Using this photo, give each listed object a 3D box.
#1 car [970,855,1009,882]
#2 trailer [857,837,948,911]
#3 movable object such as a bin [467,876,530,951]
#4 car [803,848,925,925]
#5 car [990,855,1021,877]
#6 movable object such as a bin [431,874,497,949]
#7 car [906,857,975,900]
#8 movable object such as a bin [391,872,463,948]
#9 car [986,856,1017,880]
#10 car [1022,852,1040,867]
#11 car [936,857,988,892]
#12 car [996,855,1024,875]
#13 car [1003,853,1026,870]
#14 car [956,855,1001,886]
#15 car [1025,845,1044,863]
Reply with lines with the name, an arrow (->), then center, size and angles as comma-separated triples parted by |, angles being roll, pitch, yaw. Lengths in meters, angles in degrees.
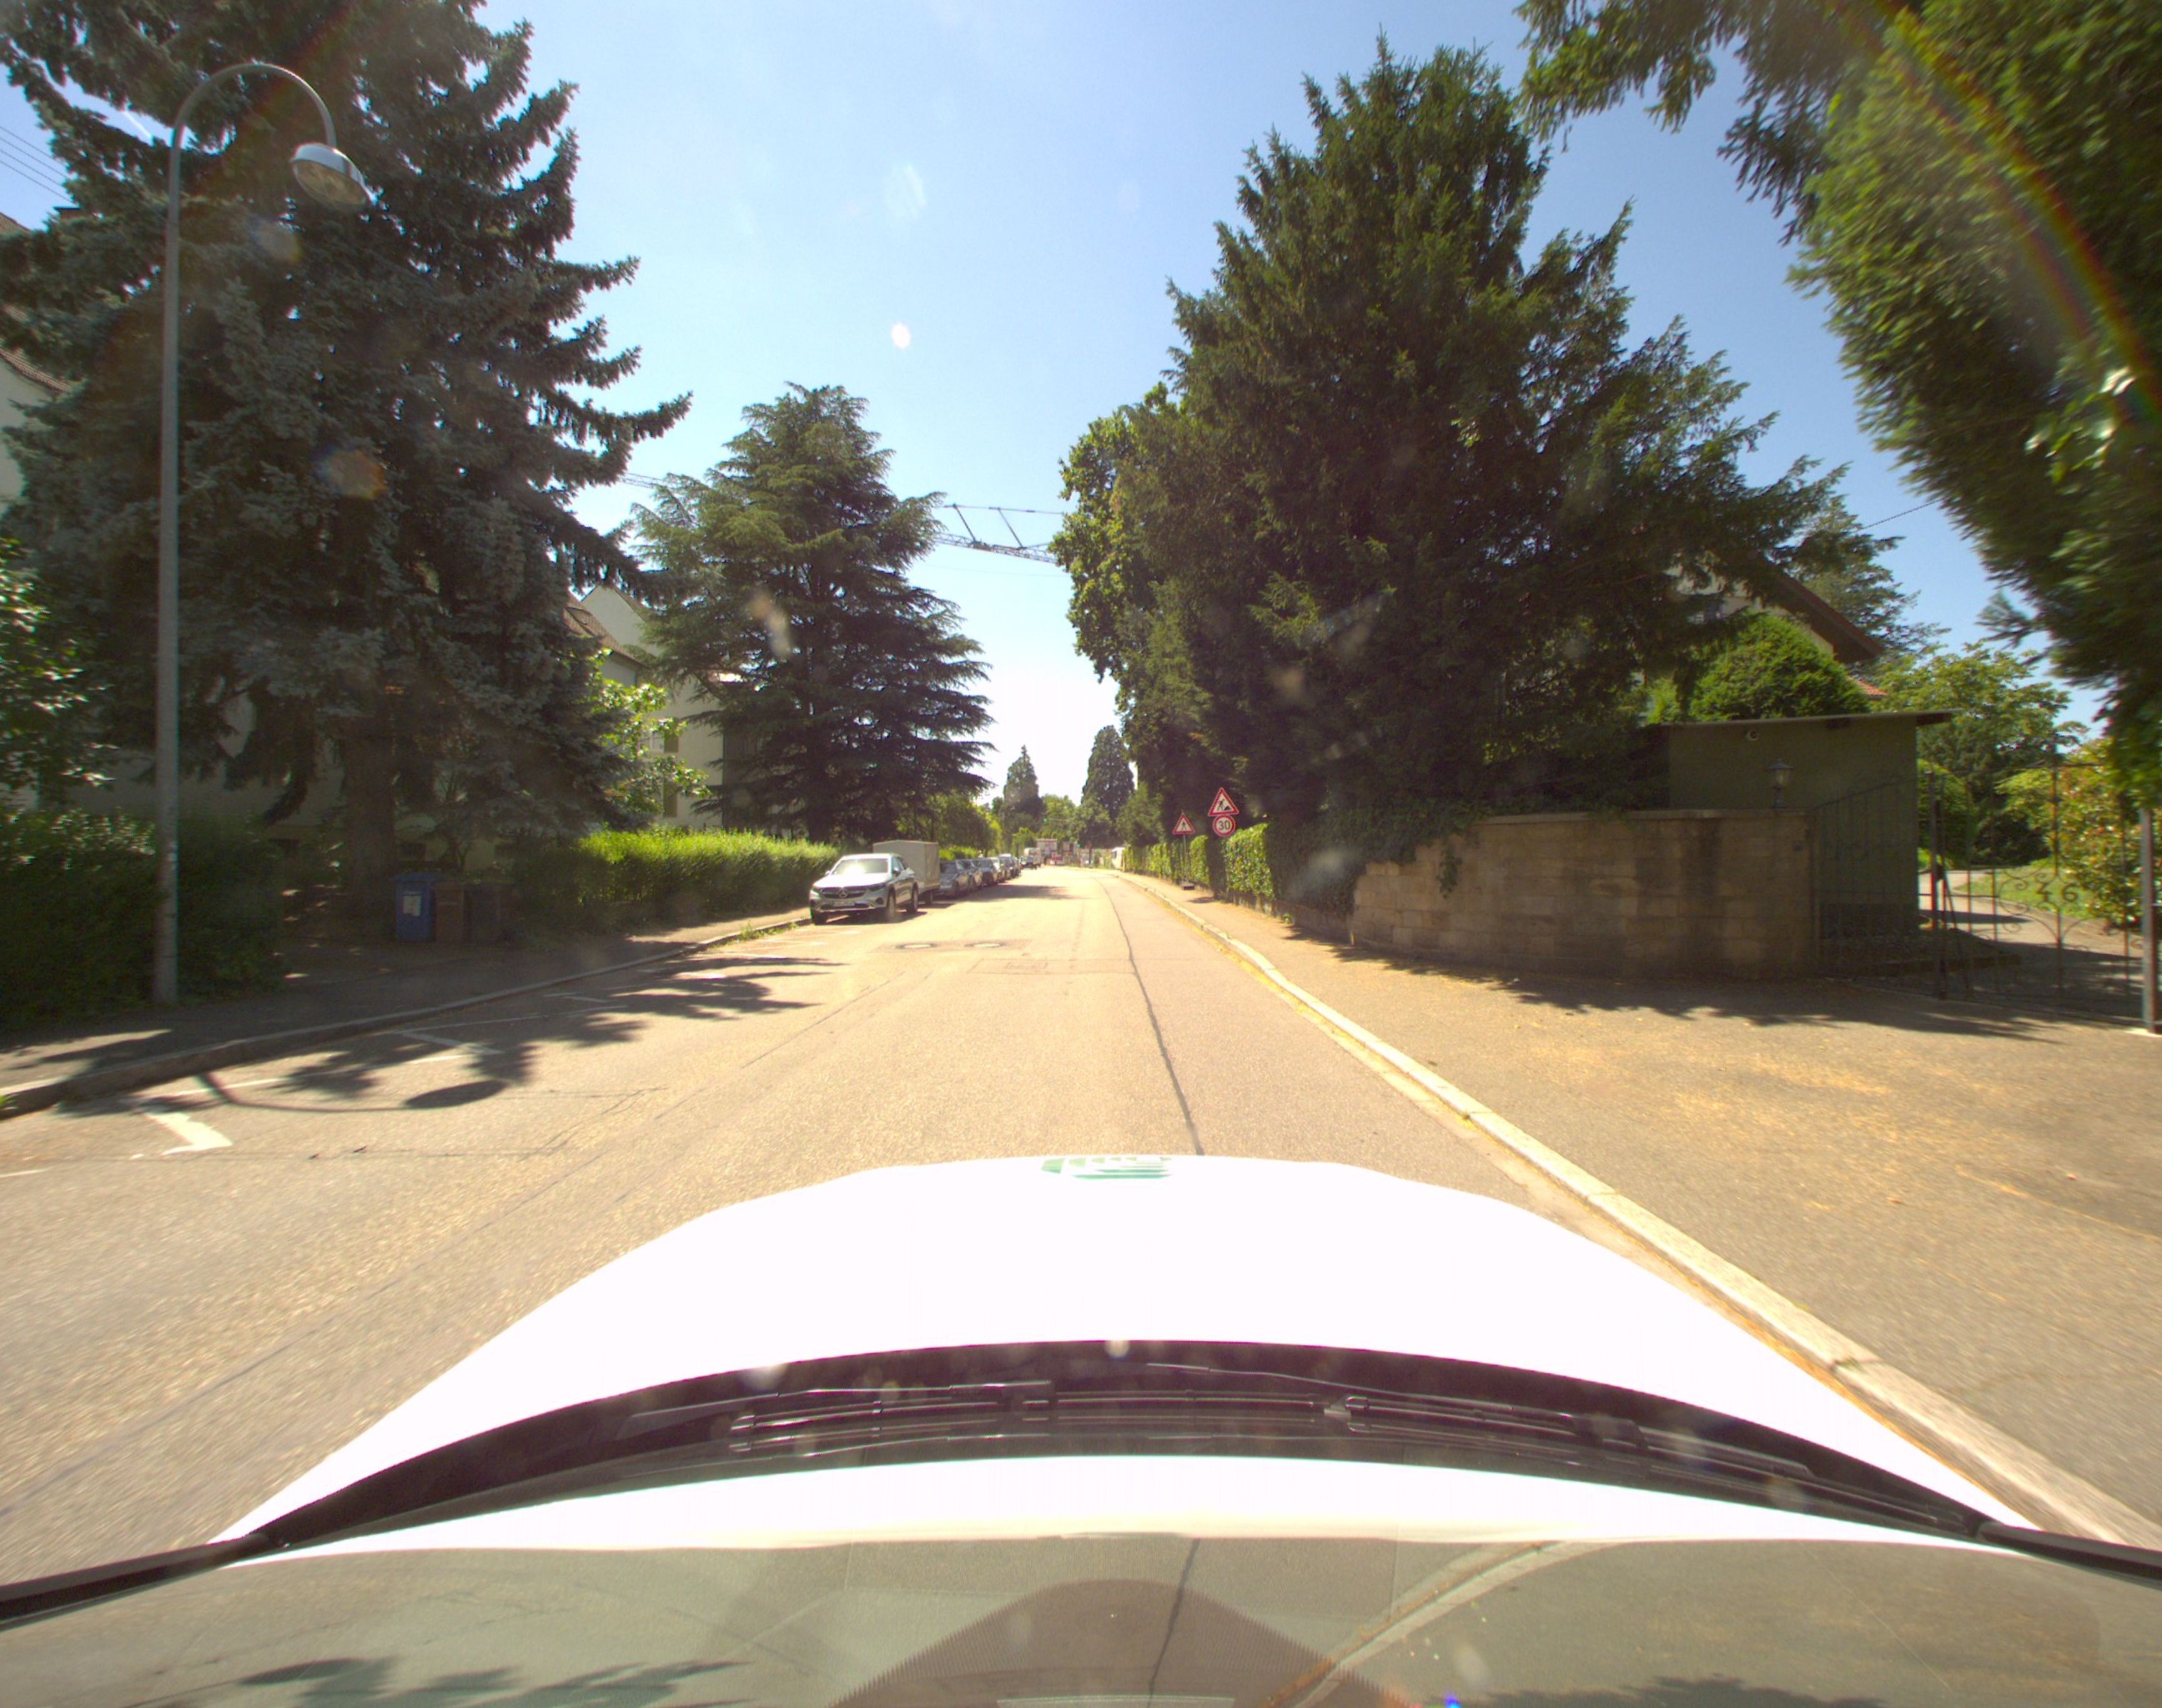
car -> -5.336, 0.834, 48.073 | 1.682, 1.444, 4.136 | -2, 0, 1
trailer -> -5.447, 0.566, 25.375 | 1.842, 2.040, 4.162 | -3, 0, -1
movable object such as a bin -> -8.982, 0.905, 12.567 | 0.484, 1.065, 0.616 | 3, 1, -1
car -> -5.402, 0.747, 20.928 | 1.845, 1.671, 4.711 | -3, 0, -1
car -> -5.341, 0.814, 58.234 | 1.682, 1.444, 4.136 | -2, 0, 1
movable object such as a bin -> -9.476, 0.872, 12.530 | 0.484, 1.082, 0.642 | 3, 1, -1
car -> -5.249, 0.867, 31.014 | 1.703, 1.439, 4.323 | -3, 0, 1
movable object such as a bin -> -10.037, 0.849, 12.515 | 0.537, 1.082, 0.645 | 3, 1, -1
car -> -5.119, 0.887, 52.868 | 1.684, 1.449, 3.998 | -1, 0, -1
car -> -5.572, 0.625, 91.431 | 1.847, 1.584, 4.132 | -2, 0, -2
car -> -5.226, 0.875, 36.236 | 1.577, 1.390, 3.884 | -3, 0, 1
car -> -5.490, 0.819, 63.539 | 1.682, 1.444, 4.136 | -2, 0, 1
car -> -6.255, 0.673, 76.614 | 1.682, 1.444, 4.136 | -2, 0, 1
car -> -5.235, 0.831, 42.178 | 1.682, 1.444, 4.137 | -2, 0, 1
car -> -6.331, -0.043, 110.078 | 2.142, 2.315, 4.839 | -2, 0, -8
